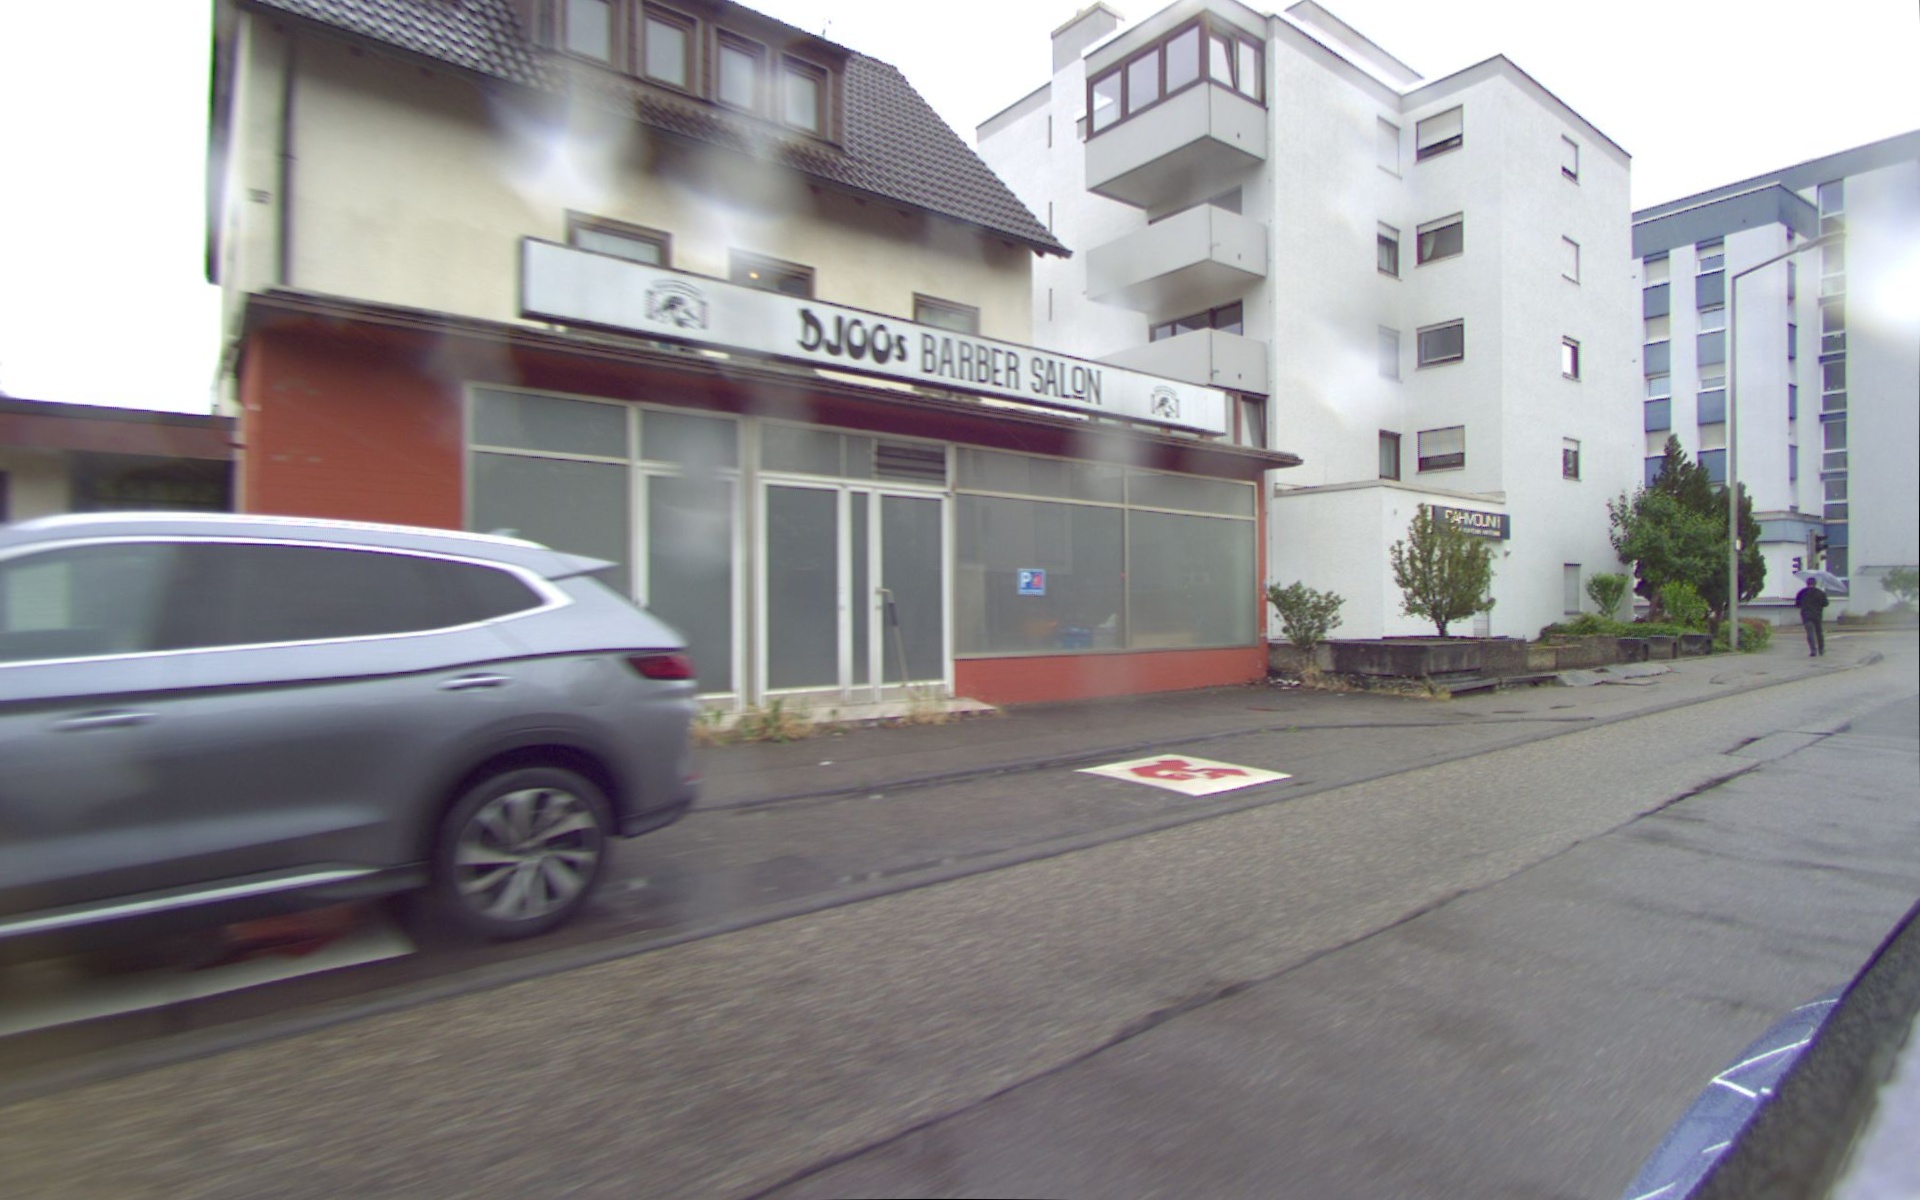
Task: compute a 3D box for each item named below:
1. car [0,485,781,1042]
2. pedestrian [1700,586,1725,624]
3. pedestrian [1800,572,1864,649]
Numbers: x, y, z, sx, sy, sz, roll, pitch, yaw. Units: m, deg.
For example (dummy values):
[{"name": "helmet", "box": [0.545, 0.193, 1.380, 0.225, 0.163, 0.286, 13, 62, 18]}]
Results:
[{"name": "car", "box": [-3.225, 0.454, 3.945, 4.710, 1.663, 1.878, -1, 2, -42]}, {"name": "pedestrian", "box": [34.259, 0.214, 46.077, 0.644, 1.673, 0.645, -1, -4, -35]}, {"name": "pedestrian", "box": [18.451, 0.217, 21.427, 0.975, 1.588, 0.754, -1, -2, -36]}]
